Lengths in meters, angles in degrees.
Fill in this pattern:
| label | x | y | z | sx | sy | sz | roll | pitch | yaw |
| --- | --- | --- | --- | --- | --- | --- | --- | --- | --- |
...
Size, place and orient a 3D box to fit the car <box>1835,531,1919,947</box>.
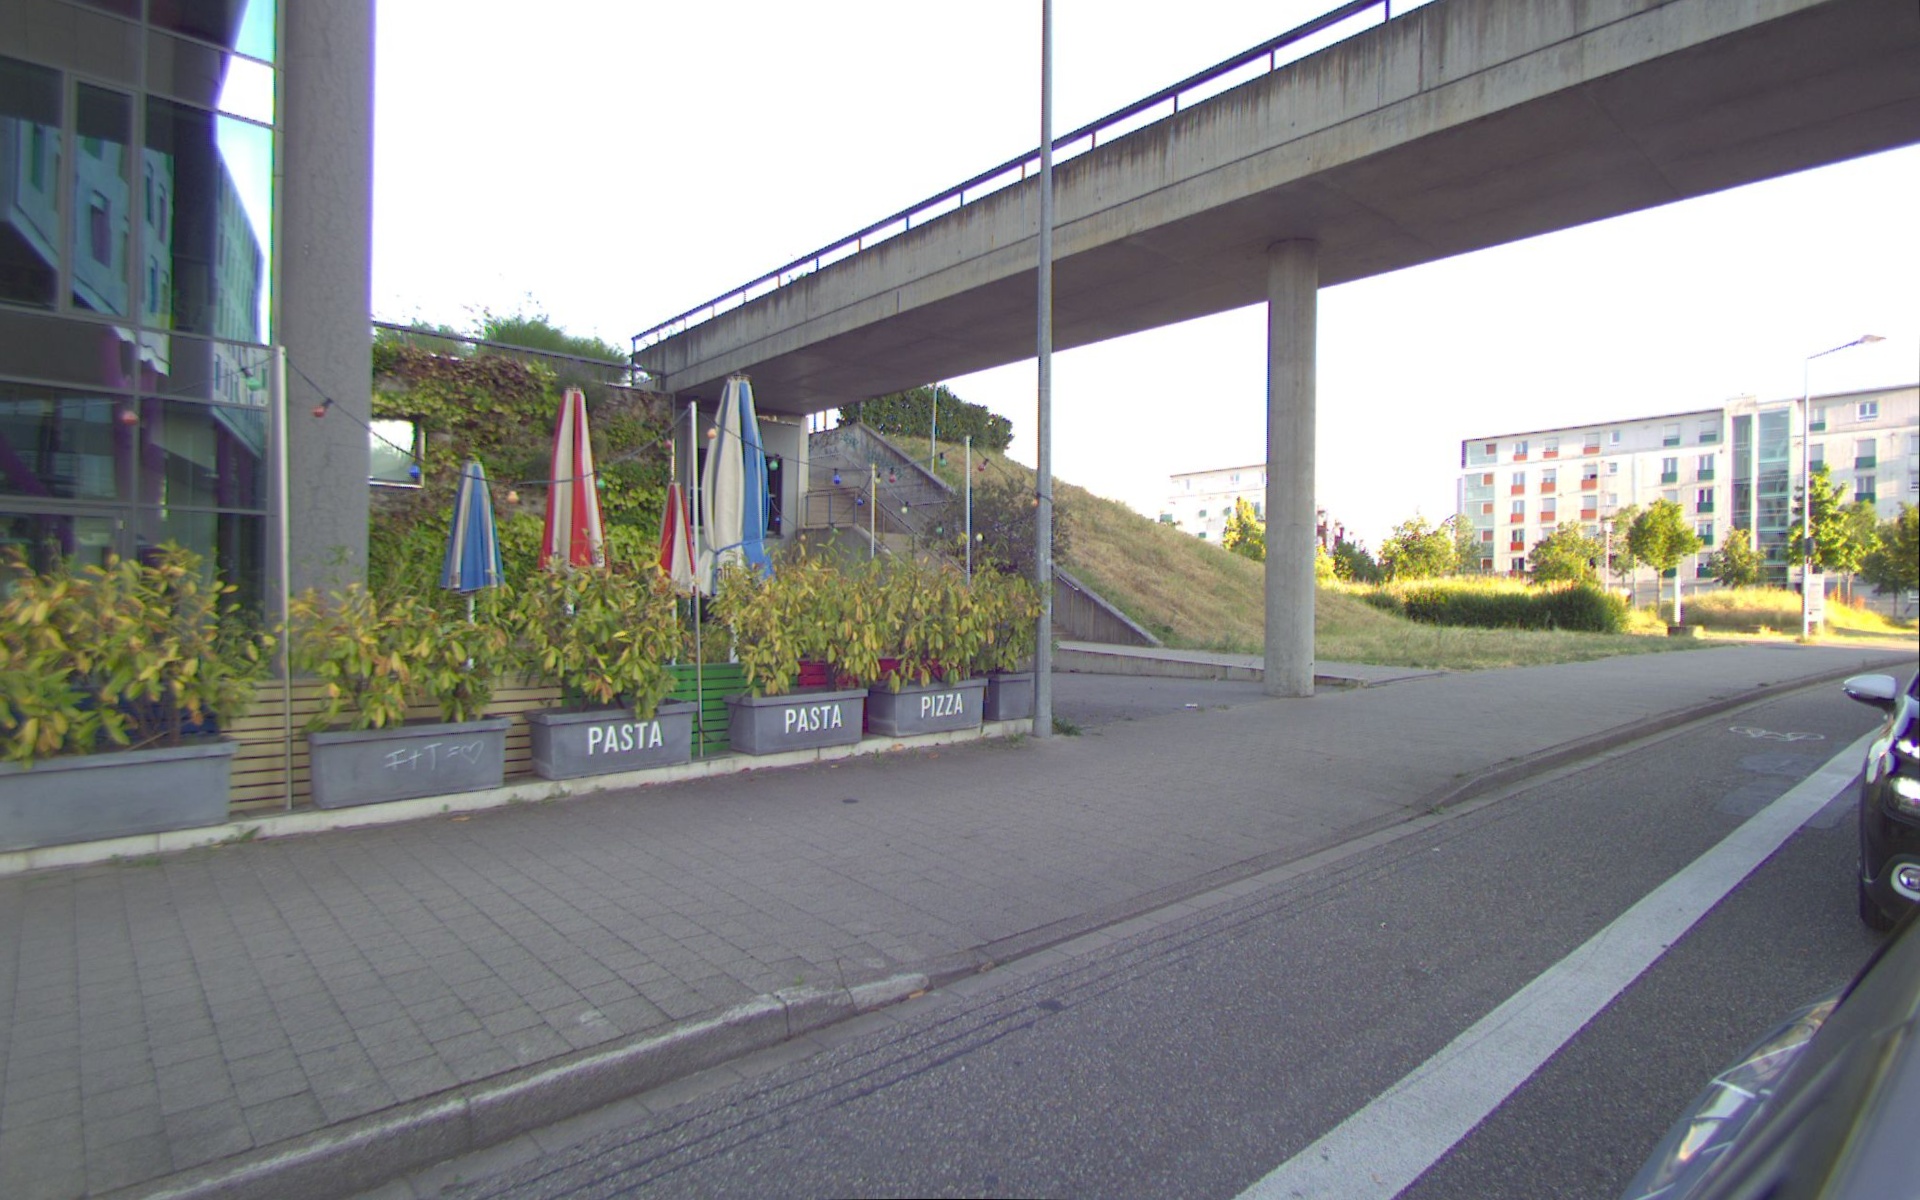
| label | x | y | z | sx | sy | sz | roll | pitch | yaw |
| --- | --- | --- | --- | --- | --- | --- | --- | --- | --- |
| car | 5.518 | 0.538 | 4.740 | 4.003 | 1.572 | 1.757 | 0 | 0 | -43 |
